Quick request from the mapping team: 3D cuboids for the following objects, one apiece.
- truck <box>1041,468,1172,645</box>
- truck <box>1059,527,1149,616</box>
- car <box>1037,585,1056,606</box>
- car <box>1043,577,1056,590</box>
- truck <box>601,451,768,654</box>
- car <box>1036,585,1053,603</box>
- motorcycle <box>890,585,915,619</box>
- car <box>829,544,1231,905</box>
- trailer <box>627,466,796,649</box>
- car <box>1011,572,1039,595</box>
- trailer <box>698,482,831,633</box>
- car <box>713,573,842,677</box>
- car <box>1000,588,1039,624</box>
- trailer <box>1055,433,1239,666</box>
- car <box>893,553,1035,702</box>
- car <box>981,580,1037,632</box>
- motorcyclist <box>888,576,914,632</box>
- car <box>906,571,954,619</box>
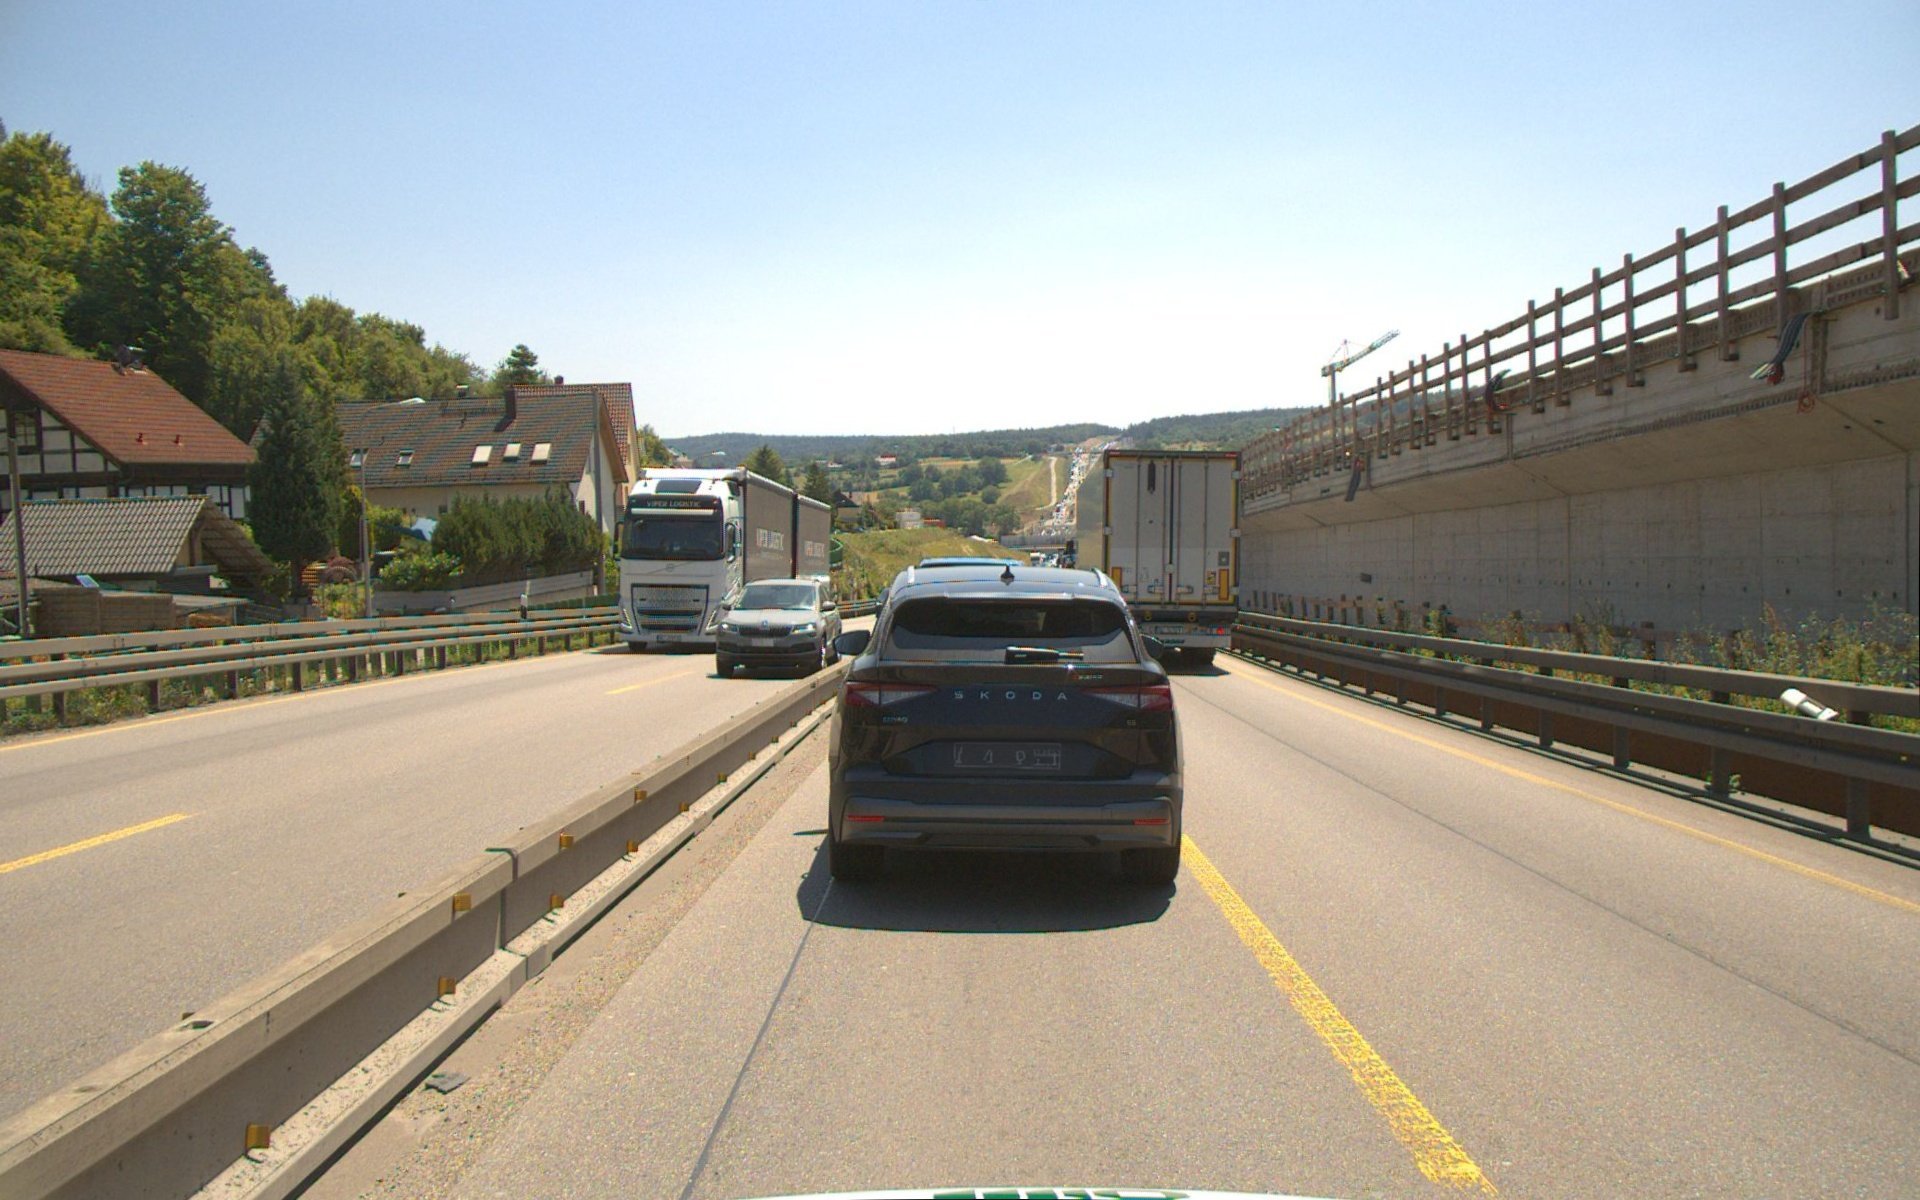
[{"bbox_3d":[3.635,-0.968,42.719,2.462,4.095,8.235,1,-1,-1],"label":"truck"},{"bbox_3d":[5.722,-1.003,67.713,3.128,3.247,12.812,0,-1,3],"label":"truck"},{"bbox_3d":[7.879,-0.388,150.157,1.665,1.758,3.838,1,-1,4],"label":"car"},{"bbox_3d":[12.183,-2.242,225.597,1.665,1.758,3.838,1,-1,4],"label":"car"},{"bbox_3d":[-6.251,-1.060,38.266,2.694,4.358,4.959,1,0,3],"label":"truck"},{"bbox_3d":[8.940,-0.636,174.292,1.665,1.758,3.838,1,-1,4],"label":"car"},{"bbox_3d":[-1.959,0.053,56.190,0.770,1.098,1.912,1,1,0],"label":"motorcycle"},{"bbox_3d":[0.175,0.589,9.424,1.806,1.614,3.903,1,-1,-5],"label":"car"},{"bbox_3d":[-6.080,-1.061,41.809,2.700,4.141,8.010,1,1,2],"label":"trailer"},{"bbox_3d":[4.939,-1.245,125.546,1.953,1.613,3.836,1,-1,0],"label":"car"},{"bbox_3d":[-5.748,-1.257,50.115,2.700,4.141,8.637,1,1,2],"label":"trailer"},{"bbox_3d":[-3.087,0.427,28.672,1.821,1.639,4.068,1,-1,-1],"label":"car"},{"bbox_3d":[2.872,0.278,80.493,1.672,1.650,3.999,1,1,-1],"label":"car"},{"bbox_3d":[3.746,-0.864,35.870,2.480,4.199,11.545,1,-1,-1],"label":"trailer"},{"bbox_3d":[-0.030,0.326,23.548,1.673,1.914,3.997,1,1,-5],"label":"car"},{"bbox_3d":[1.614,0.169,55.414,1.672,1.650,3.999,1,1,-1],"label":"car"},{"bbox_3d":[-1.996,0.131,55.991,0.836,1.887,0.983,1,0,0],"label":"motorcyclist"},{"bbox_3d":[-1.289,-0.194,73.077,1.981,1.995,4.898,1,-1,0],"label":"car"}]
